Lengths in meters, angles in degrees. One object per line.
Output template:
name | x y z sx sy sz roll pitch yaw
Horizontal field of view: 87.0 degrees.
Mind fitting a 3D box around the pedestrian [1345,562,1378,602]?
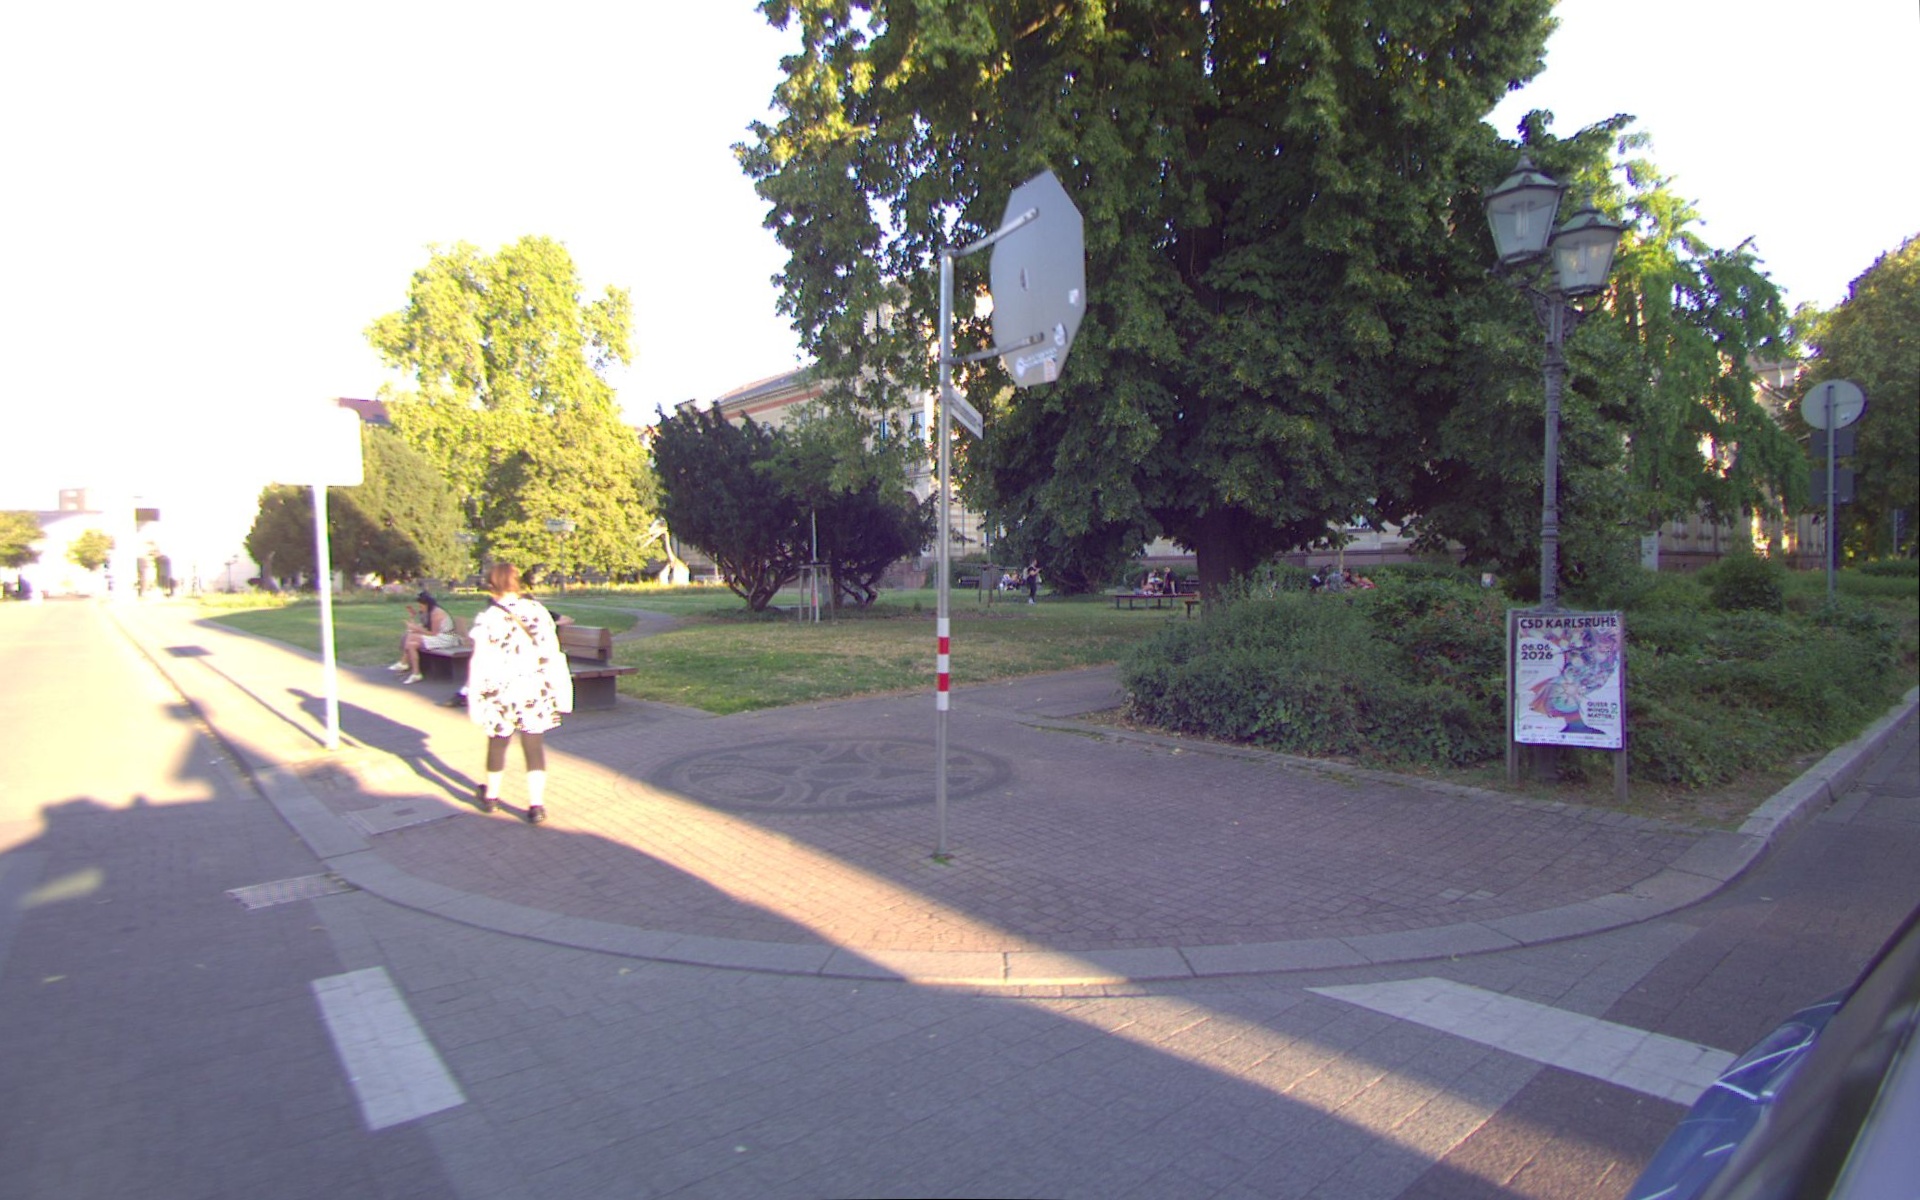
pedestrian | 10.944 -0.488 27.601 0.785 1.063 0.394 -1 1 14

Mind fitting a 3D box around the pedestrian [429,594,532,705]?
pedestrian | -5.627 0.549 11.901 0.526 1.219 0.955 0 1 43

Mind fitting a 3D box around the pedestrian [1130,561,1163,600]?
pedestrian | 9.840 -1.018 53.389 0.966 2.039 1.393 0 0 -43

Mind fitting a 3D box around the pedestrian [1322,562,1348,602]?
pedestrian | 10.086 -0.475 27.255 0.595 1.063 0.394 -1 1 13

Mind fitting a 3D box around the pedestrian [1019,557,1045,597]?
pedestrian | 2.697 -0.866 37.868 0.744 1.462 0.812 0 1 23

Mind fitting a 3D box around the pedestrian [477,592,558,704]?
pedestrian | -5.078 0.521 11.613 0.606 1.219 0.657 0 1 43

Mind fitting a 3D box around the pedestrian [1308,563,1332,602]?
pedestrian | 9.939 -0.480 27.922 0.595 1.063 0.393 -1 1 16

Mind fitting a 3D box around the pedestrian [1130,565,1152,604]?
pedestrian | 5.373 -0.461 30.061 0.593 1.122 0.395 -1 1 4

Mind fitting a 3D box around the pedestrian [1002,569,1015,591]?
pedestrian | 2.919 -1.193 60.936 0.499 1.304 0.583 0 1 43

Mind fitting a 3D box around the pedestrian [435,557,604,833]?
pedestrian | -2.880 0.550 6.607 0.744 1.646 0.857 -2 2 -43

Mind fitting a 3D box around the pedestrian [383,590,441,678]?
pedestrian | -7.876 0.472 14.556 0.499 1.229 0.583 0 1 43

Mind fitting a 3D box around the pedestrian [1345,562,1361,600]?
pedestrian | 11.003 -0.530 28.344 0.390 1.063 0.601 0 1 18

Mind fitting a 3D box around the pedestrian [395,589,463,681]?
pedestrian | -7.393 0.473 14.101 0.606 1.229 0.657 0 1 43

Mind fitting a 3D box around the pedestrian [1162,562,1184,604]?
pedestrian | 6.252 -0.511 29.770 0.594 1.217 0.394 -1 1 9
